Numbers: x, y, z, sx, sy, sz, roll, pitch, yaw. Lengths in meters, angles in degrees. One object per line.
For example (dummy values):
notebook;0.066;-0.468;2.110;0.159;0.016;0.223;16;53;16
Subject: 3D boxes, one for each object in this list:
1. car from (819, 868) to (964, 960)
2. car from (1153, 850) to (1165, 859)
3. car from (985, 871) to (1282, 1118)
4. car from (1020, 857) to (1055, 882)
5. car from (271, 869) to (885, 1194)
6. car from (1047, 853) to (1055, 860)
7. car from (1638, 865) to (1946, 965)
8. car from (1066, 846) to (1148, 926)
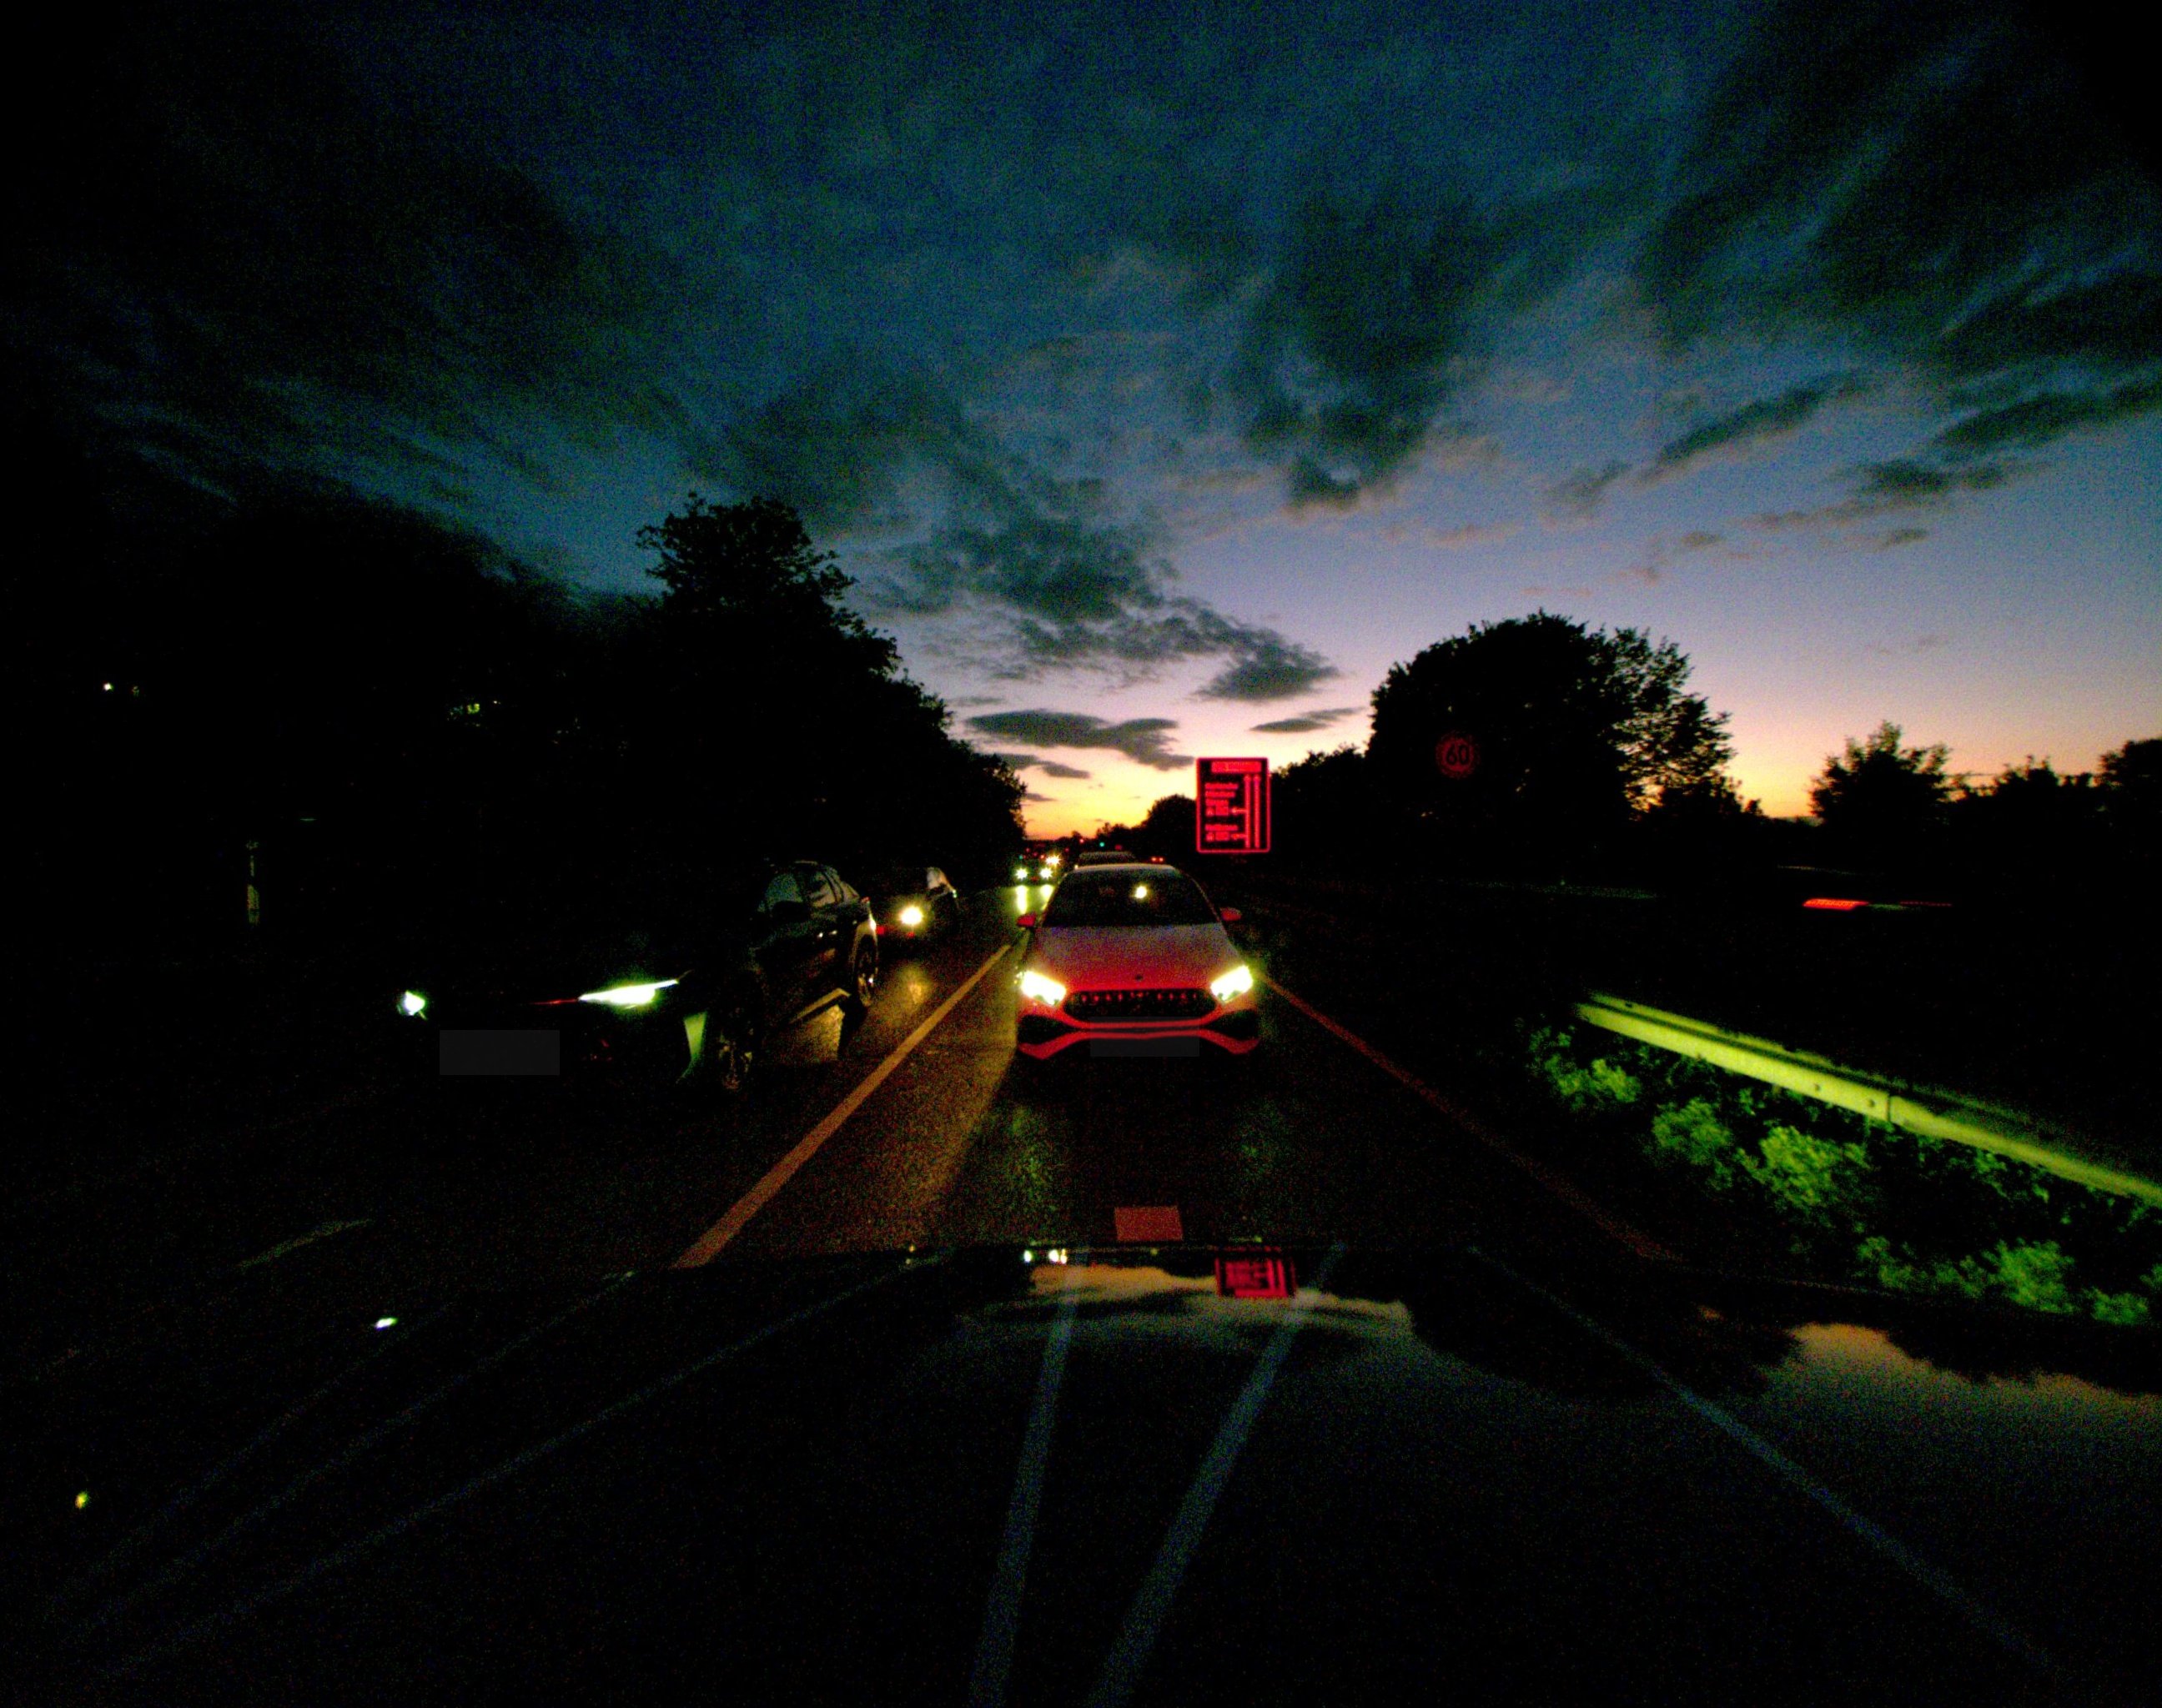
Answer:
car;-3.338;0.995;14.079;1.621;1.405;3.756;-1;0;2
car;14.768;0.083;144.322;1.781;1.551;3.999;-2;1;1
car;0.403;0.950;7.141;1.819;1.428;4.647;-3;0;2
car;-2.593;0.916;46.374;1.819;1.360;3.999;-2;1;1
car;-3.180;0.973;6.100;1.901;1.547;4.301;-3;0;2
car;-6.010;0.591;152.674;1.606;1.291;3.552;-2;1;-1
car;13.005;1.006;14.405;1.632;1.496;4.591;0;0;2
car;0.640;0.725;18.803;1.760;1.692;4.250;-2;0;2
